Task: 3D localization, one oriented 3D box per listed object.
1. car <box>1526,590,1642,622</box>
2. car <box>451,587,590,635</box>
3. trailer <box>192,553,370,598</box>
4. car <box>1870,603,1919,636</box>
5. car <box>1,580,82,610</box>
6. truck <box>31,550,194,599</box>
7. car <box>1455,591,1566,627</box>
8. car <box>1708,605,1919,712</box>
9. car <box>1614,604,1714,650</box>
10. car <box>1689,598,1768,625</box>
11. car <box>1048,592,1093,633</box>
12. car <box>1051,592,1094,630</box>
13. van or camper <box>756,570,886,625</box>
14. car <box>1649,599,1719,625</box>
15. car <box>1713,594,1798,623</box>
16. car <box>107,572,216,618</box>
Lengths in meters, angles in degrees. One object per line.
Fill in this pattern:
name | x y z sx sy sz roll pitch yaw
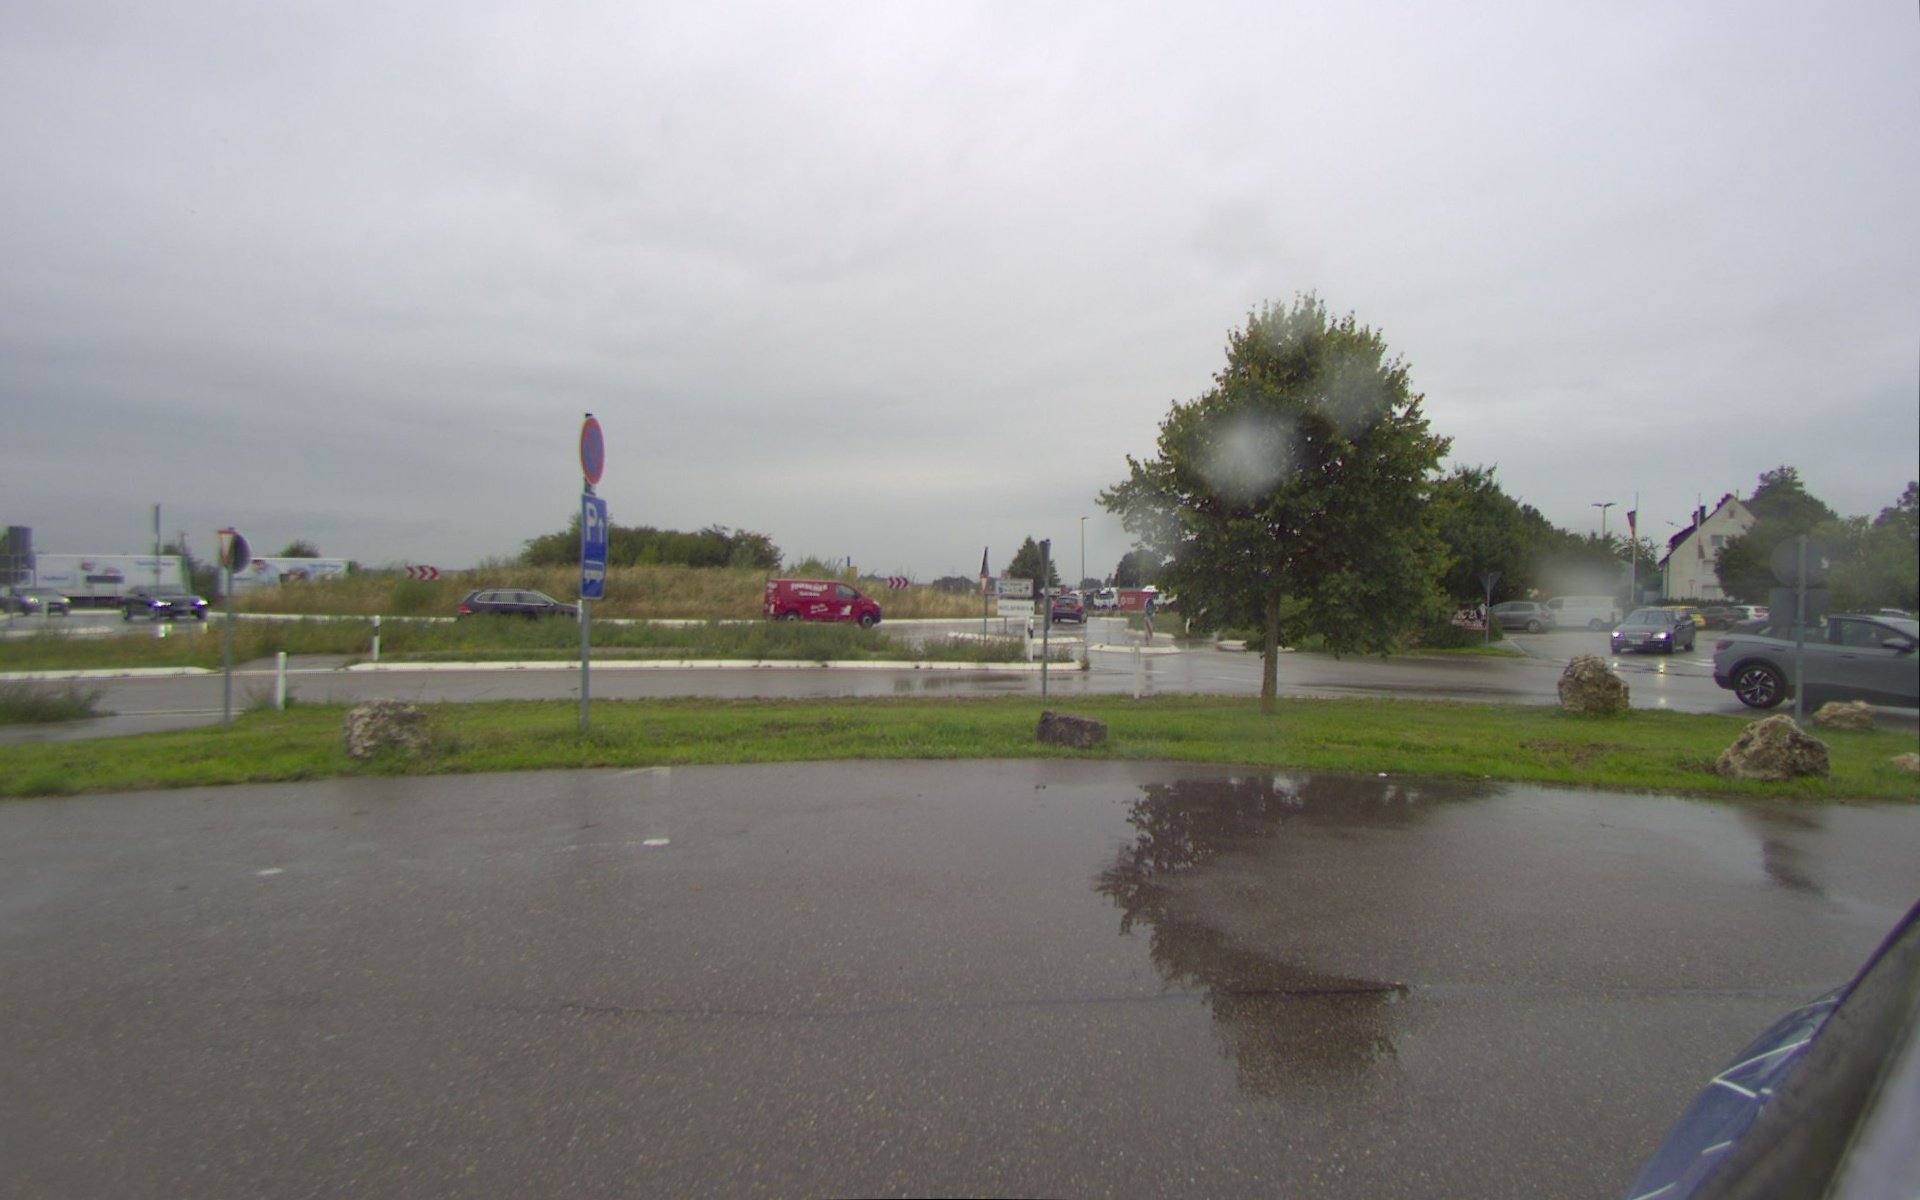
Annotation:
car | 35.558 0.364 57.799 1.966 1.744 5.365 1 -1 -43
car | -15.561 0.359 36.097 4.429 1.623 2.004 0 0 -20
trailer | -46.584 -1.586 69.742 9.969 2.939 2.203 0 0 -42
car | 42.541 0.863 43.983 1.820 1.443 4.349 1 0 -44
car | -47.302 -0.276 52.120 4.269 1.340 1.740 2 3 28
truck | -53.714 -1.558 64.386 7.634 2.945 2.186 0 0 -29
car | 27.961 0.475 51.522 1.966 1.744 4.599 1 -1 -43
car | 15.103 0.899 16.326 1.958 1.594 4.508 1 0 -23
car | 23.502 0.849 33.737 4.284 1.443 1.704 0 0 -41
car | 46.977 0.696 61.946 1.715 1.590 3.891 0 0 -4
car | 6.292 0.650 57.429 1.971 2.038 3.984 2 3 14
car | 6.423 0.620 57.390 1.970 2.039 3.983 0 0 13
van or camper | -5.626 -0.100 41.078 4.748 2.038 2.004 1 2 -28
car | 44.473 0.711 62.249 1.635 1.569 3.724 0 0 1
car | 49.244 0.521 62.735 1.951 1.750 4.003 0 0 -4
car | -33.431 -0.257 42.355 4.627 1.704 1.875 2 3 28
